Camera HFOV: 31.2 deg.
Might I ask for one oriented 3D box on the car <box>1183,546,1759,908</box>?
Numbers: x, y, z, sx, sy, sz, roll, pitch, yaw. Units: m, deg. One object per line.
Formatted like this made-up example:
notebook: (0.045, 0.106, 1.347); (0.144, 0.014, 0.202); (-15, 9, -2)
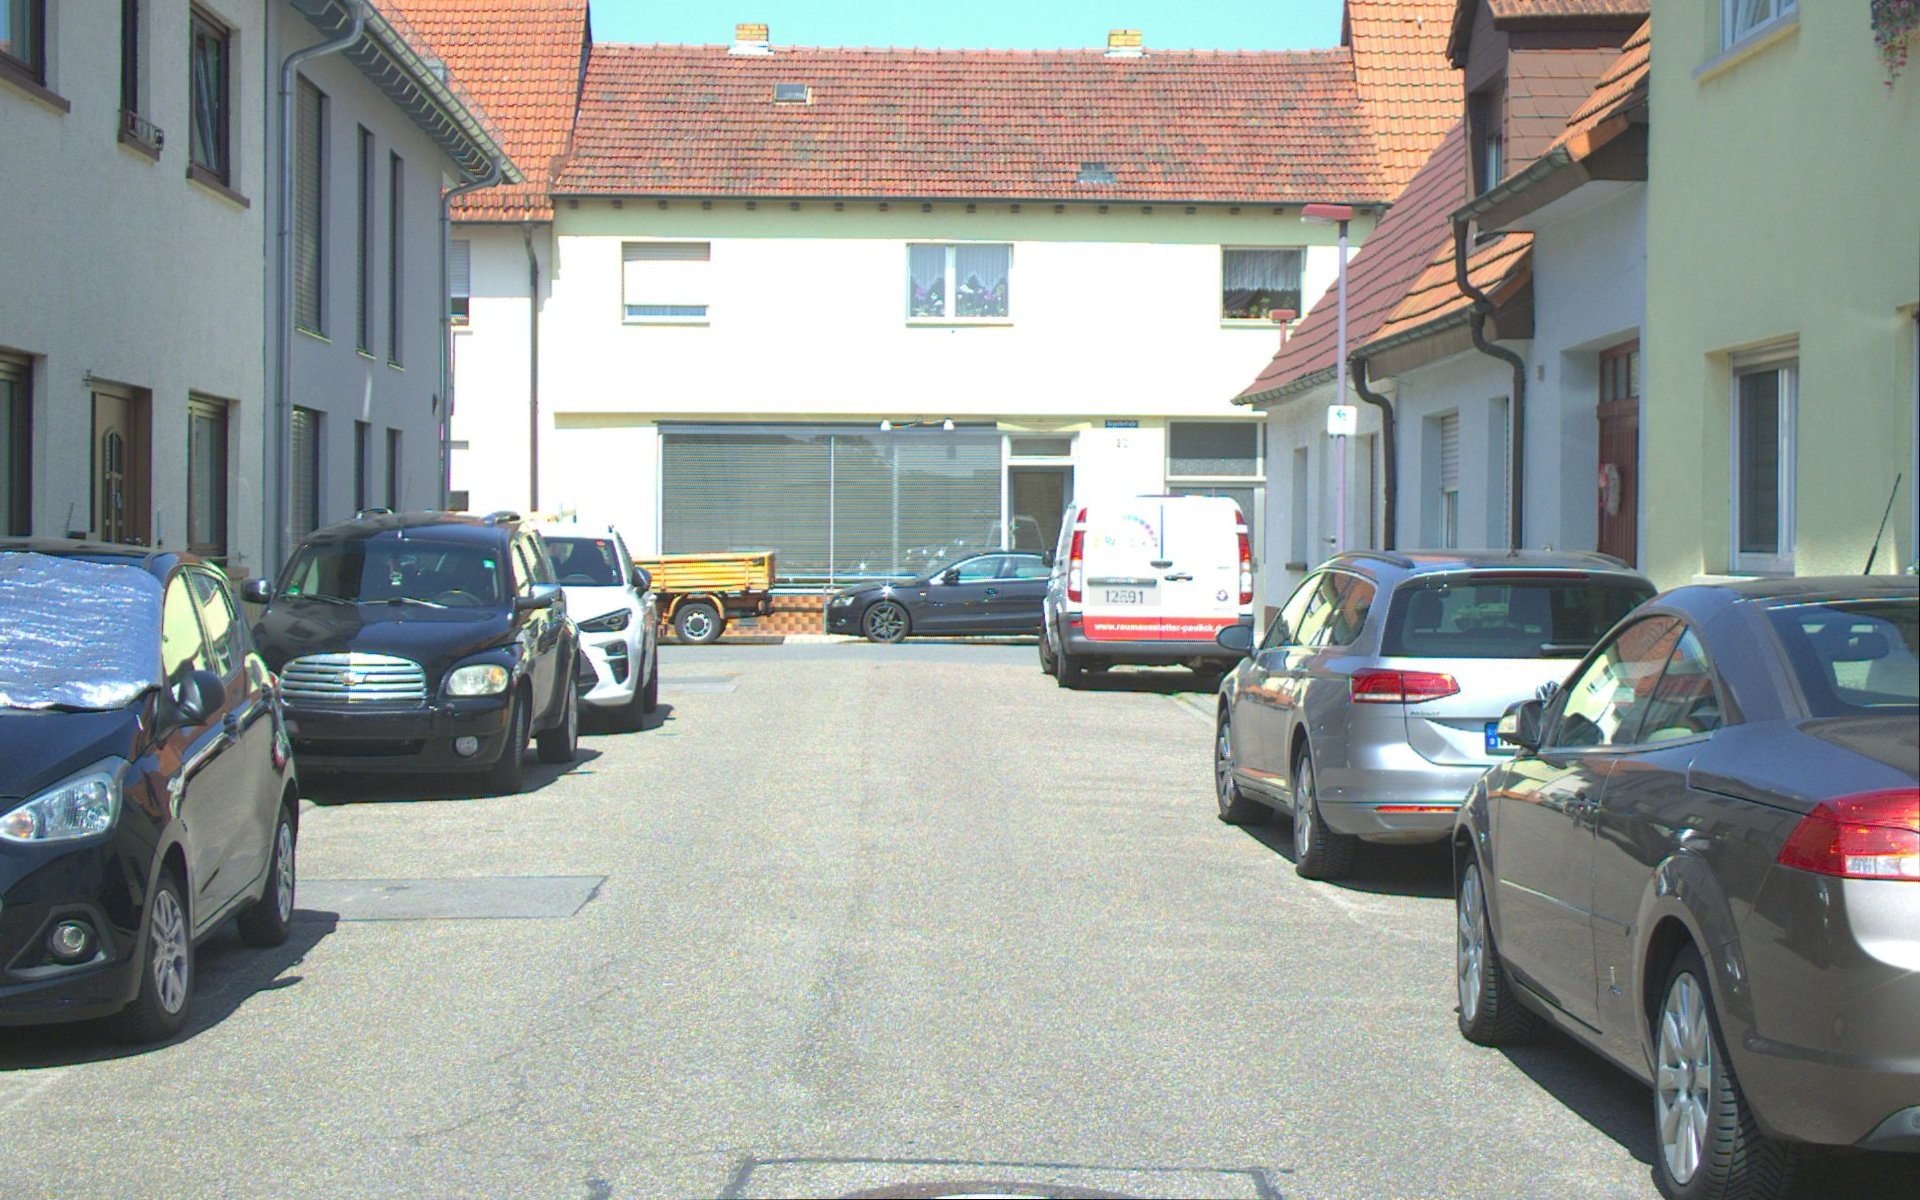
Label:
car: (2.264, 0.490, 16.559); (1.838, 1.443, 4.777); (1, 1, -2)

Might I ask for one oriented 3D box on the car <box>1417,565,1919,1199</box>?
car: (2.347, 0.664, 8.644); (1.696, 1.430, 4.103); (1, 1, -2)

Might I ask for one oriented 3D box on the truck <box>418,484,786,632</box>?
truck: (-5.080, -0.595, 49.391); (5.063, 2.007, 2.190); (1, 0, -1)

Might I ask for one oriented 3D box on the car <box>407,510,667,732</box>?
car: (-3.284, 0.117, 27.375); (1.774, 1.610, 4.350); (-1, 1, -3)

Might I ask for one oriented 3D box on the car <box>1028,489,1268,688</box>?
car: (1.830, -0.155, 35.151); (2.012, 1.832, 5.266); (1, 1, -1)

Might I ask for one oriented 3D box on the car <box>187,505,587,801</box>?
car: (-3.357, 0.259, 20.839); (1.722, 1.610, 3.989); (0, 1, 0)

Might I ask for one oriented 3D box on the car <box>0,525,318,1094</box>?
car: (-3.211, 0.539, 11.213); (1.640, 1.532, 3.943); (-1, 1, -2)

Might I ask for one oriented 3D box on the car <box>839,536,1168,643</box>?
car: (0.588, -0.135, 49.461); (4.616, 1.389, 1.928); (1, -2, -2)
